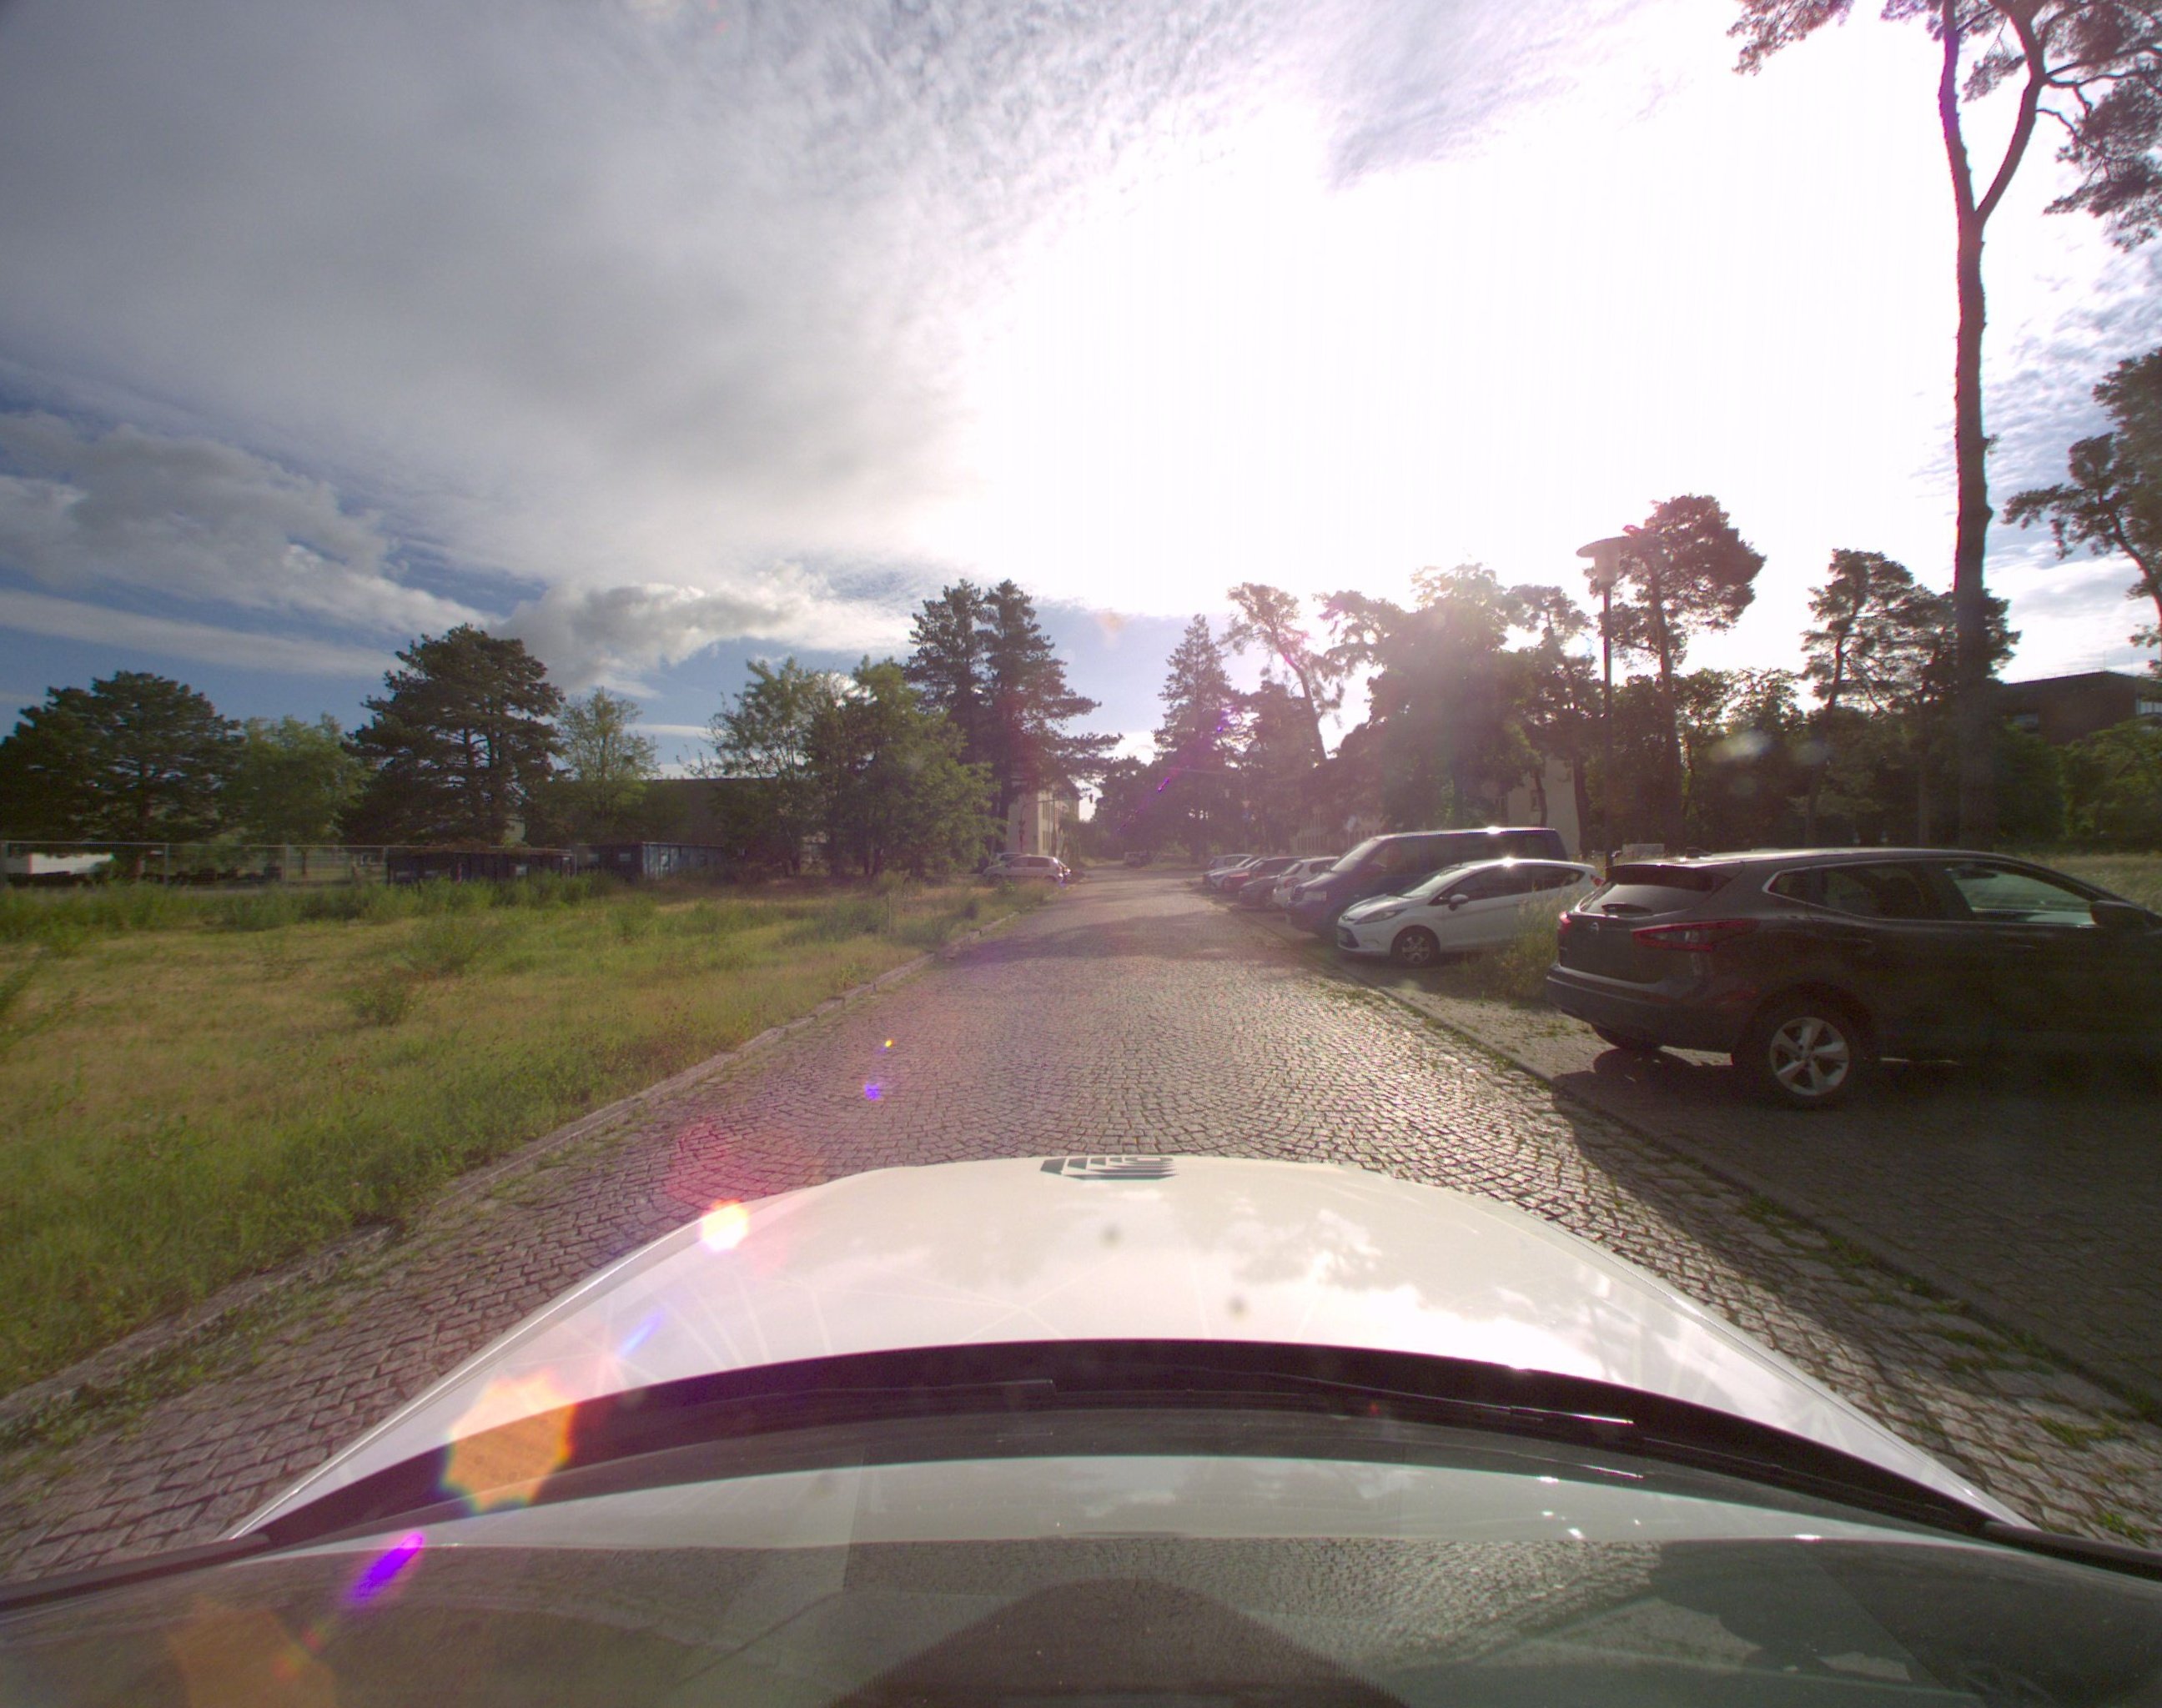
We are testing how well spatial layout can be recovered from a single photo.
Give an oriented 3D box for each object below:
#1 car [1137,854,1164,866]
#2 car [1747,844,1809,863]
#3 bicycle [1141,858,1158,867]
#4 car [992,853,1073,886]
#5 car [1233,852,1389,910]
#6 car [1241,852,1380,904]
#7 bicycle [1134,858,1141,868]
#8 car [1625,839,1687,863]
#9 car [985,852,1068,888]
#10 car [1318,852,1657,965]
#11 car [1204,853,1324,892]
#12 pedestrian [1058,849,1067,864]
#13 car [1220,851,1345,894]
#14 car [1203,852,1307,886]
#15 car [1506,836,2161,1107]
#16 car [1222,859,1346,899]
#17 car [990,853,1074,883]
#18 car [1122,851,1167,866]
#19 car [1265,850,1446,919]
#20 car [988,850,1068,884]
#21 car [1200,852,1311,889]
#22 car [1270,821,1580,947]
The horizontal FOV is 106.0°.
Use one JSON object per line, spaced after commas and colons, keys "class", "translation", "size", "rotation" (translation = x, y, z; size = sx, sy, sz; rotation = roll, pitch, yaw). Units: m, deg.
{"class": "car", "translation": [8.664, 0.710, 102.061], "size": [3.032, 1.465, 1.714], "rotation": [0, -1, -10]}
{"class": "car", "translation": [62.305, -0.030, 72.868], "size": [3.917, 1.679, 1.857], "rotation": [0, -1, 1]}
{"class": "bicycle", "translation": [7.621, 0.974, 90.737], "size": [1.786, 0.999, 0.644], "rotation": [-1, 0, 2]}
{"class": "car", "translation": [-2.392, 0.768, 40.790], "size": [3.813, 1.429, 1.860], "rotation": [2, -1, 2]}
{"class": "car", "translation": [6.384, 0.740, 22.939], "size": [3.934, 1.467, 1.832], "rotation": [-1, -1, 3]}
{"class": "car", "translation": [7.200, 0.749, 25.828], "size": [3.934, 1.495, 1.774], "rotation": [-1, -1, 3]}
{"class": "bicycle", "translation": [5.980, 0.969, 86.198], "size": [0.725, 0.999, 1.800], "rotation": [-1, 1, 3]}
{"class": "car", "translation": [62.798, -0.270, 88.988], "size": [5.134, 2.536, 2.267], "rotation": [0, -1, 4]}
{"class": "car", "translation": [-2.516, 0.740, 38.135], "size": [3.669, 1.473, 1.850], "rotation": [2, -1, 1]}
{"class": "car", "translation": [5.921, 0.771, 12.217], "size": [4.177, 1.470, 1.807], "rotation": [-1, -1, -1]}
{"class": "car", "translation": [7.359, 0.740, 33.123], "size": [4.488, 1.473, 1.851], "rotation": [-1, -1, 3]}
{"class": "pedestrian", "translation": [-2.334, 0.304, 102.588], "size": [0.981, 1.963, 0.933], "rotation": [0, -1, 3]}
{"class": "car", "translation": [7.556, 0.701, 30.838], "size": [4.323, 1.473, 1.741], "rotation": [-1, -1, 3]}
{"class": "car", "translation": [8.146, 0.705, 38.500], "size": [4.527, 1.505, 1.933], "rotation": [-1, -1, 1]}
{"class": "car", "translation": [5.646, 0.715, 5.862], "size": [4.174, 1.589, 1.879], "rotation": [-1, -1, 2]}
{"class": "car", "translation": [7.024, 0.859, 28.480], "size": [3.934, 1.261, 1.728], "rotation": [-1, -1, 3]}
{"class": "car", "translation": [-2.711, 0.752, 46.053], "size": [4.571, 1.455, 1.904], "rotation": [2, 1, 1]}
{"class": "car", "translation": [8.212, 0.582, 105.658], "size": [5.502, 1.916, 2.246], "rotation": [0, -1, -11]}
{"class": "car", "translation": [6.652, 0.730, 20.063], "size": [3.858, 1.530, 1.809], "rotation": [-1, -1, 3]}
{"class": "car", "translation": [-2.777, 0.705, 43.509], "size": [4.110, 1.600, 1.858], "rotation": [2, -1, -2]}
{"class": "car", "translation": [7.637, 0.720, 35.894], "size": [4.493, 1.473, 1.894], "rotation": [-1, -1, -1]}
{"class": "car", "translation": [6.016, 0.526, 14.732], "size": [4.714, 1.928, 1.993], "rotation": [-2, -1, 2]}
